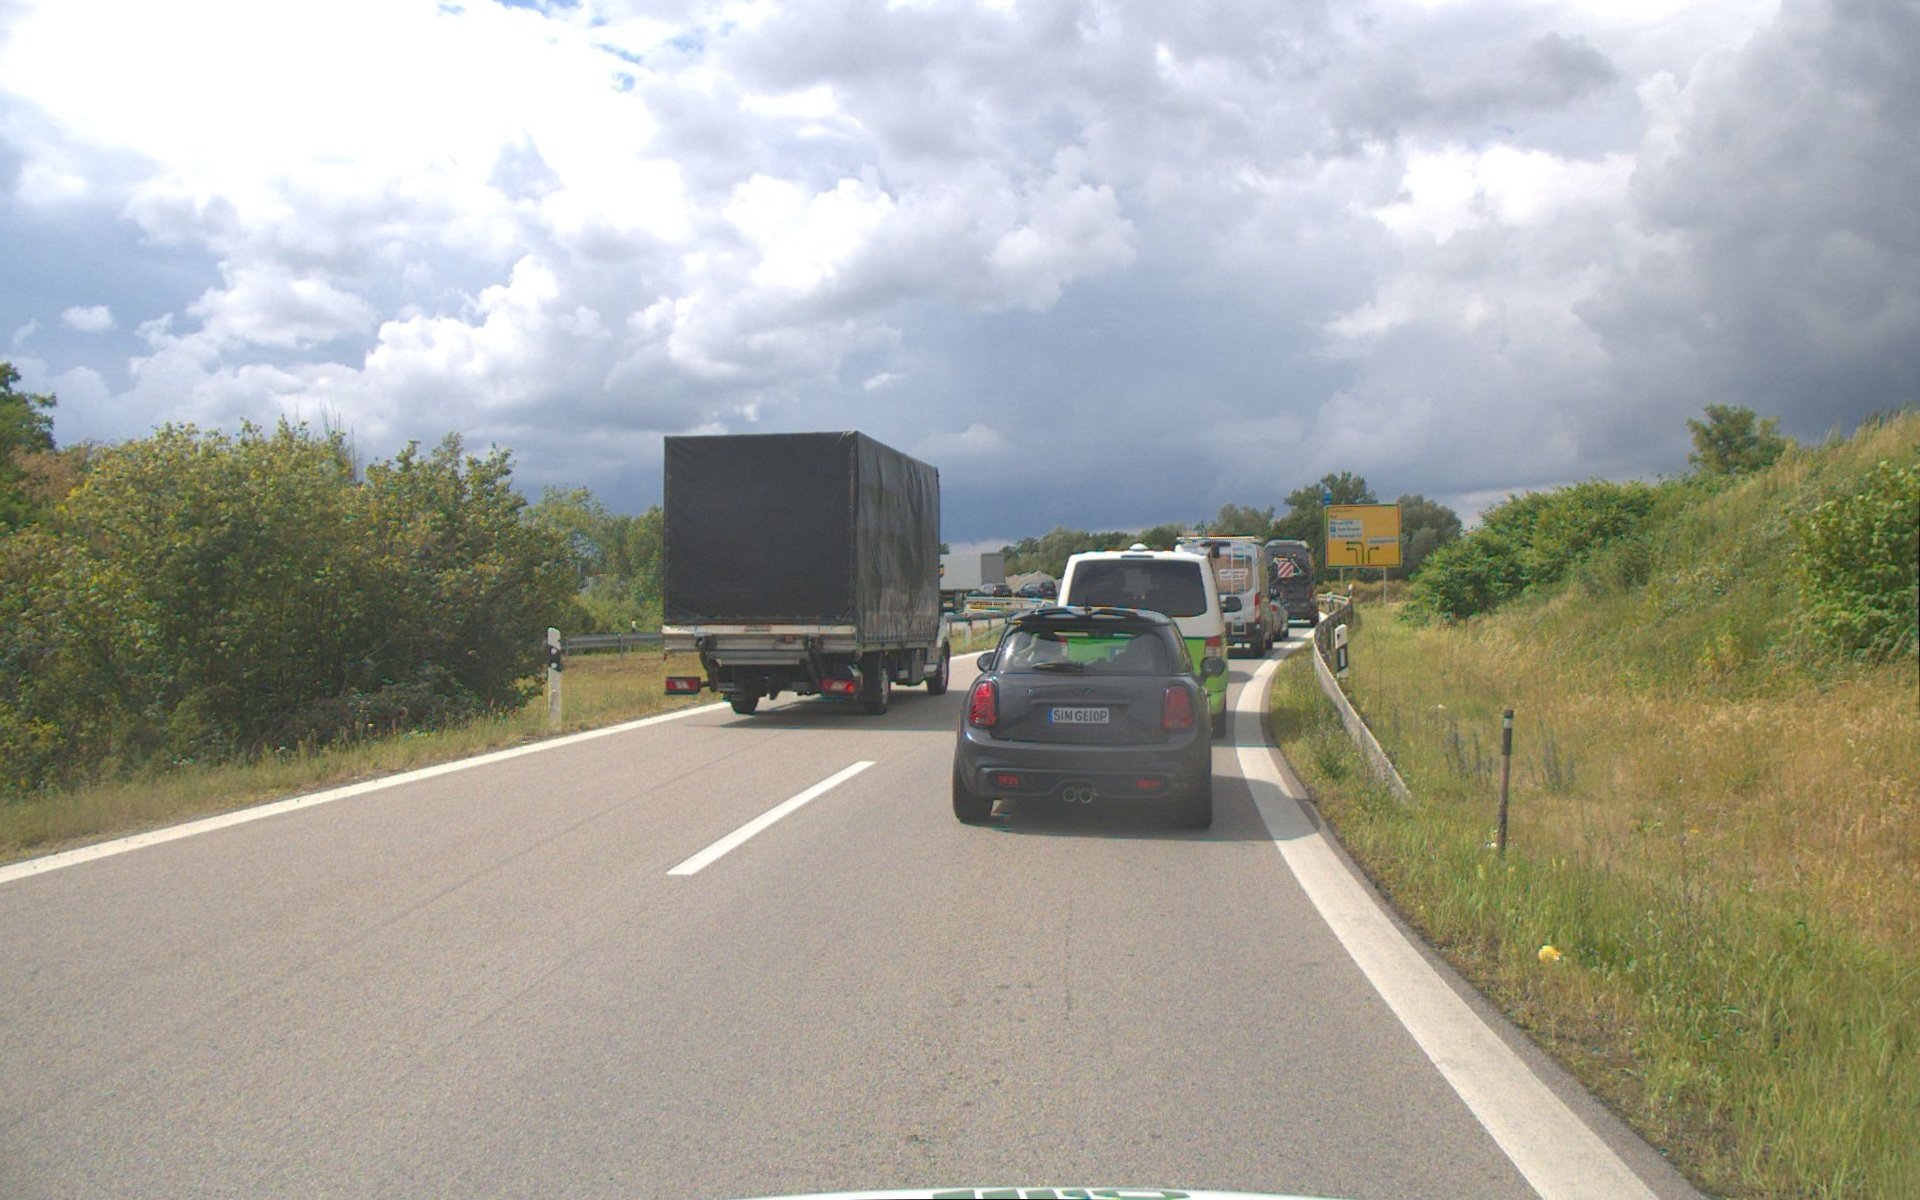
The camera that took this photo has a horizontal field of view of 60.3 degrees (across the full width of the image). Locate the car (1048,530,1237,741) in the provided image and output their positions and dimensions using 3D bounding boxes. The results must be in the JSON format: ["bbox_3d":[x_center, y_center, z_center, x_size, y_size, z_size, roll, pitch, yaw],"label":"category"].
[{"bbox_3d":[2.160,0.351,18.594,1.870,2.081,4.184,0,0,9],"label":"car"}]

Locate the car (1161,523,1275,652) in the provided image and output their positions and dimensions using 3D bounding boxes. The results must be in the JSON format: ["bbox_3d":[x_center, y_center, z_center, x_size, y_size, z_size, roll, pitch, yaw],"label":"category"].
[{"bbox_3d":[5.918,-0.237,37.372,2.164,2.668,5.539,1,-1,12],"label":"car"}]

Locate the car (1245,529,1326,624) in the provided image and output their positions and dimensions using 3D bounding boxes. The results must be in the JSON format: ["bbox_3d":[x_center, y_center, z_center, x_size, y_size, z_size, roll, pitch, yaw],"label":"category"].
[{"bbox_3d":[11.520,-0.755,58.174,2.262,3.122,6.666,1,-1,15],"label":"car"}]

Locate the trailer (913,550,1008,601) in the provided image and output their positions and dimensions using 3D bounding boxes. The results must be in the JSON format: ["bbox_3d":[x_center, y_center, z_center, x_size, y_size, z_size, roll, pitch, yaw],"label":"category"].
[{"bbox_3d":[-0.023,-1.967,136.158,3.016,3.966,8.648,1,-1,-39],"label":"trailer"}]

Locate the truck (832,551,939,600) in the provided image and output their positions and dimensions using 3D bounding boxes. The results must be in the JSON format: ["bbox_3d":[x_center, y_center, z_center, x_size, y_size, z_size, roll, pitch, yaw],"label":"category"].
[{"bbox_3d":[-6.463,-2.067,142.607,9.842,4.046,2.831,1,-1,40],"label":"truck"}]

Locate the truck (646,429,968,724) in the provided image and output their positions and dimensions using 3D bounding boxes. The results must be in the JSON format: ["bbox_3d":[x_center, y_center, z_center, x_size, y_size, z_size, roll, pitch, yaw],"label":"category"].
[{"bbox_3d":[-1.689,-0.237,21.978,2.505,3.223,7.474,1,-1,8],"label":"truck"}]

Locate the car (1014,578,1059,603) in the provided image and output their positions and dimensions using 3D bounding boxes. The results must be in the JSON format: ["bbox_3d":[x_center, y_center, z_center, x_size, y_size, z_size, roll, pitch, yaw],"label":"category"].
[{"bbox_3d":[5.982,-0.732,129.918,1.895,1.870,4.287,1,-1,-23],"label":"car"}]

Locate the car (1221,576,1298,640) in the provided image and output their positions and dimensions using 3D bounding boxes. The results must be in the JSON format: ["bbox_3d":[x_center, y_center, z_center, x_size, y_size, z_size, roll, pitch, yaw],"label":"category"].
[{"bbox_3d":[8.393,0.225,46.102,1.951,1.671,3.932,1,-1,12],"label":"car"}]

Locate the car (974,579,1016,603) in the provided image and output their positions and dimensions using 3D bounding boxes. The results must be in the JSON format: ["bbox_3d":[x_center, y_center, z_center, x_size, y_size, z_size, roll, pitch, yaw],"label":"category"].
[{"bbox_3d":[2.707,-0.708,128.115,1.788,1.786,3.972,1,-1,-23],"label":"car"}]

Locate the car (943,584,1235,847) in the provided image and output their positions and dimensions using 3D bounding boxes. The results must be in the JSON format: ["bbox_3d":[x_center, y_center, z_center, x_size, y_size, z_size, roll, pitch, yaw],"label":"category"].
[{"bbox_3d":[1.019,0.690,11.949,1.761,1.573,3.741,0,0,7],"label":"car"}]
